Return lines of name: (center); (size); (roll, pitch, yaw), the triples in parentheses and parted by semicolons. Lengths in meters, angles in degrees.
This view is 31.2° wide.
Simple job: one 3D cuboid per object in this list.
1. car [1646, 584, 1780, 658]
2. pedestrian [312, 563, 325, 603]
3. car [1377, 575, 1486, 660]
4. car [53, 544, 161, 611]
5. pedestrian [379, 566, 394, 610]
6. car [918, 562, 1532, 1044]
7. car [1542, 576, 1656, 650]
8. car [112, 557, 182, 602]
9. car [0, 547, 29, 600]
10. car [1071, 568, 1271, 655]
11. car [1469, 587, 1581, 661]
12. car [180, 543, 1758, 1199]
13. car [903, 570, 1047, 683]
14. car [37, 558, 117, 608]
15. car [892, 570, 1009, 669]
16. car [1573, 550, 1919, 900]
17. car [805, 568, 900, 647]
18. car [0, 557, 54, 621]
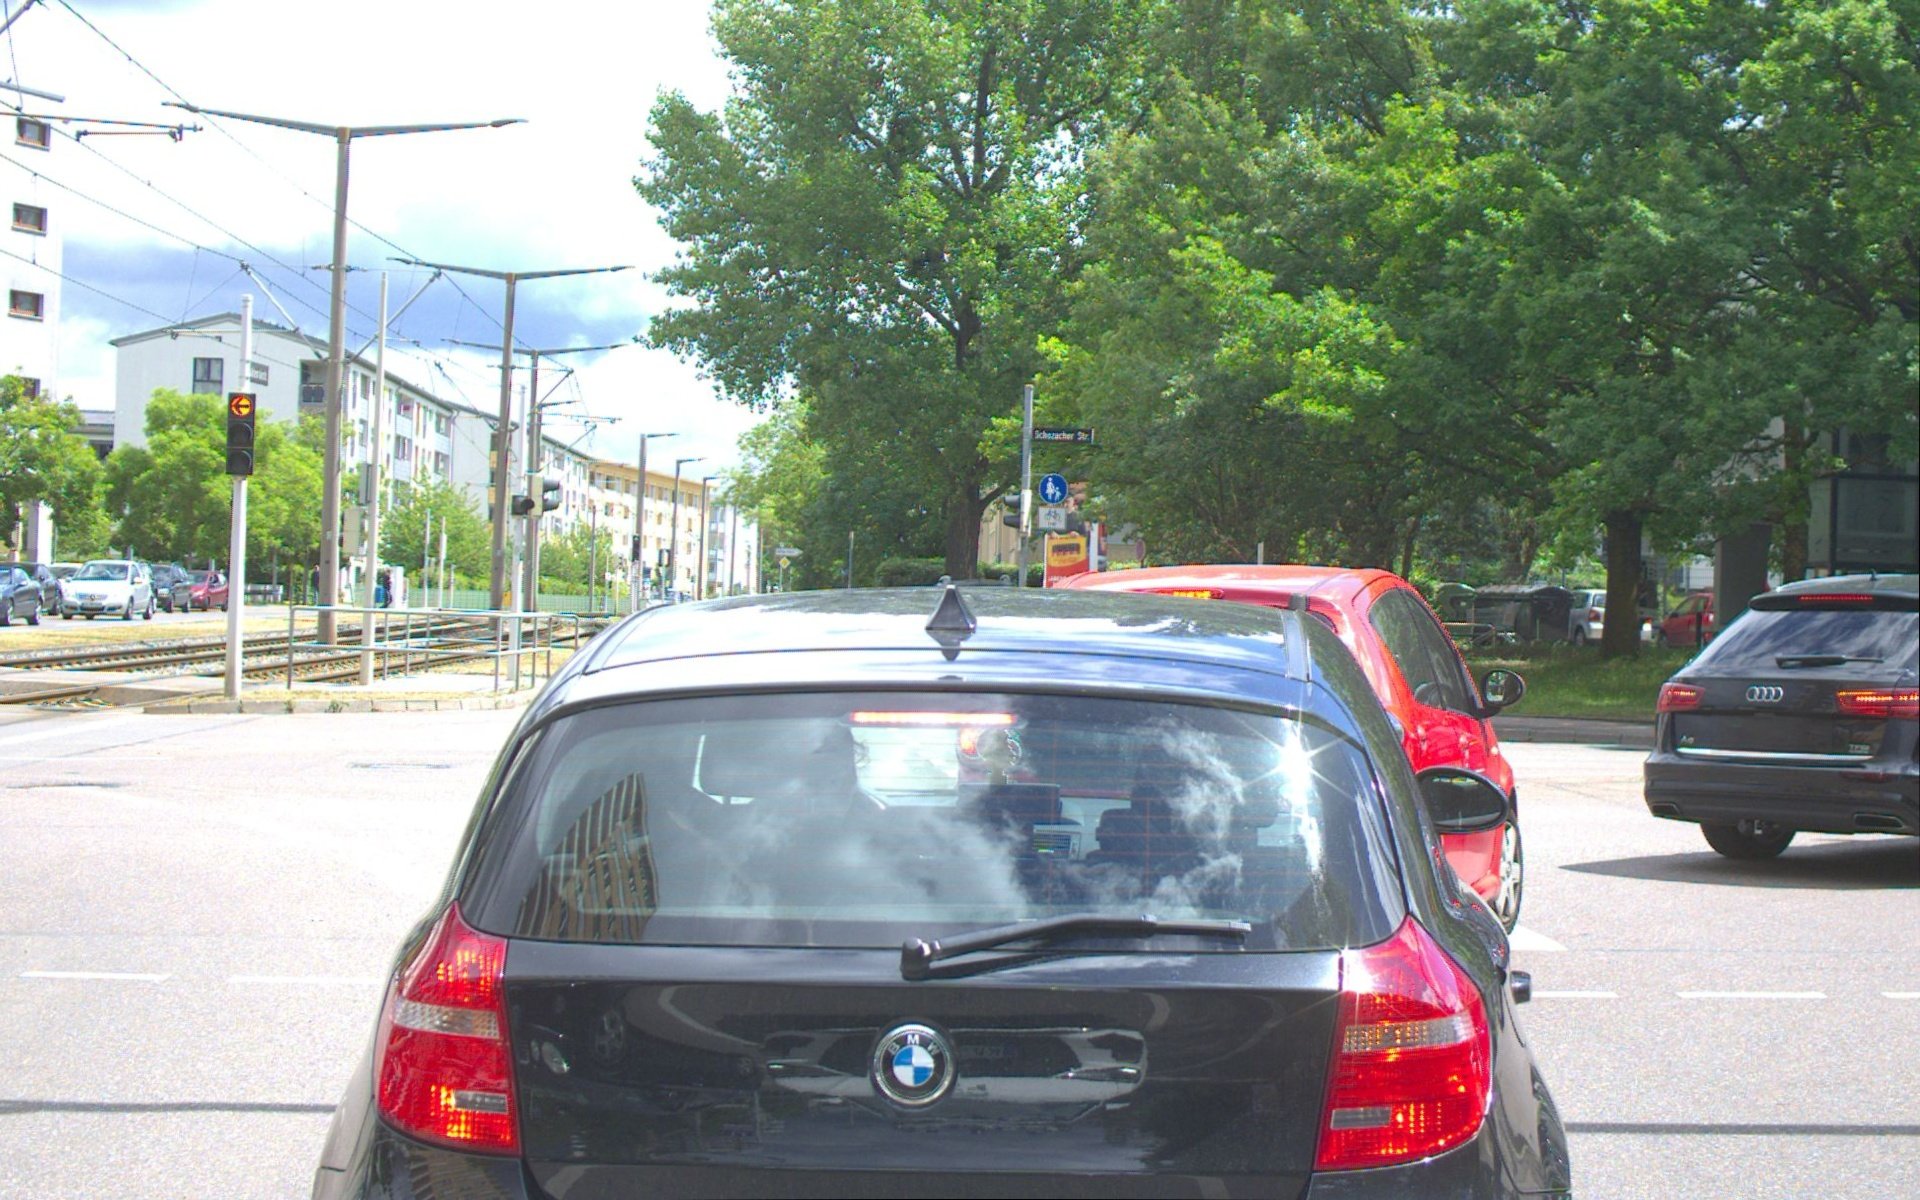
car: (17.347, 0.472, 79.365); (1.730, 1.589, 4.001); (1, 1, -8)
pedestrian: (-26.971, -0.715, 144.469); (0.452, 1.631, 0.480); (1, 1, -5)
car: (10.518, 0.365, 76.973); (1.630, 1.804, 4.033); (1, 1, -3)
car: (-22.568, -0.611, 91.060); (1.937, 1.687, 3.873); (1, 1, -1)
pedestrian: (-21.406, -0.443, 128.313); (0.478, 1.631, 0.454); (1, 1, -1)
car: (1.061, 0.599, 12.229); (1.543, 1.436, 3.193); (1, 1, 16)
car: (14.635, 0.285, 78.923); (1.630, 1.589, 4.001); (1, 1, -3)
car: (-26.512, -0.680, 112.158); (1.761, 1.390, 4.001); (1, 1, -7)
car: (-26.525, -0.739, 93.463); (1.761, 1.390, 4.001); (1, 1, -7)
car: (4.644, 0.256, 75.719); (3.986, 1.817, 1.779); (1, 1, -22)
car: (12.747, 0.523, 77.738); (1.630, 1.567, 4.033); (1, 1, -3)
car: (-0.014, 0.664, 5.855); (1.752, 1.482, 4.000); (1, 1, 0)
car: (0.212, 0.400, 54.213); (2.152, 1.678, 4.000); (1, 0, 0)
car: (-25.922, -0.506, 101.000); (1.761, 1.390, 4.001); (1, 1, -7)
car: (-0.176, 0.350, 61.662); (1.993, 1.678, 4.000); (1, 0, 0)
car: (5.355, 0.555, 17.448); (4.508, 1.548, 1.999); (0, 1, -41)
car: (-2.389, 0.141, 76.975); (1.993, 1.678, 4.000); (1, 1, 0)
car: (-21.889, -0.278, 78.030); (1.634, 1.395, 4.494); (2, 0, -3)
